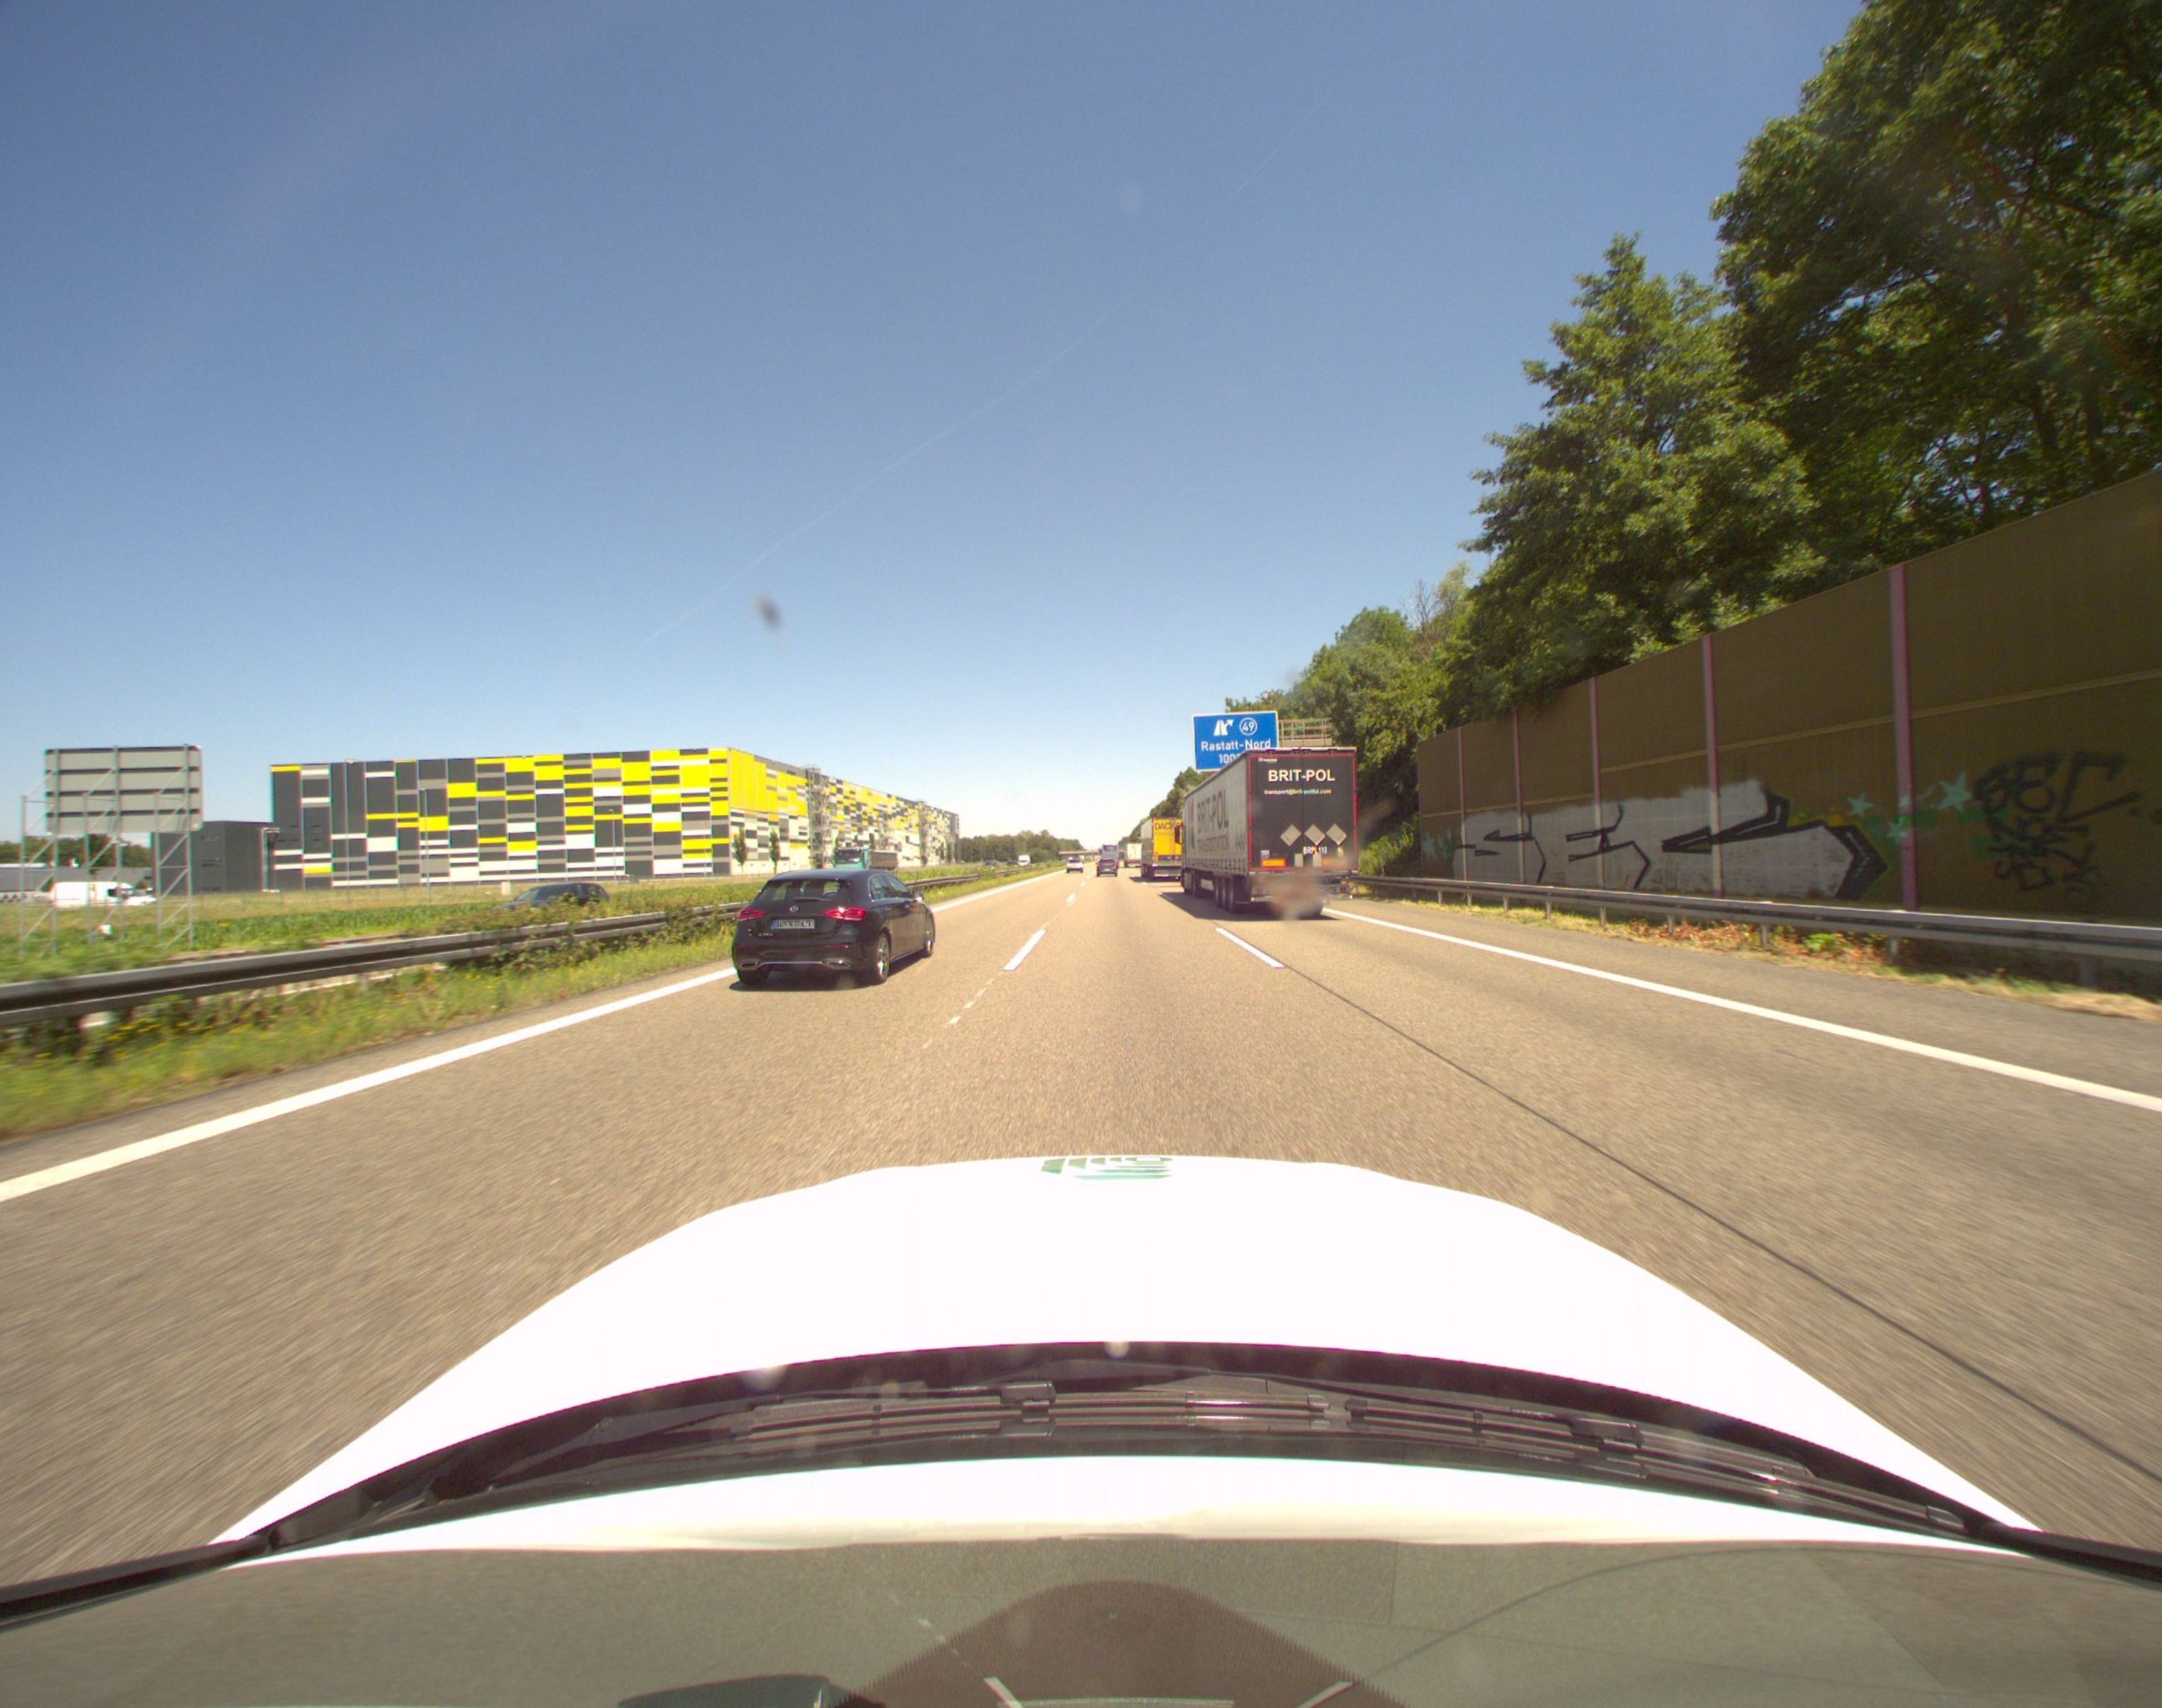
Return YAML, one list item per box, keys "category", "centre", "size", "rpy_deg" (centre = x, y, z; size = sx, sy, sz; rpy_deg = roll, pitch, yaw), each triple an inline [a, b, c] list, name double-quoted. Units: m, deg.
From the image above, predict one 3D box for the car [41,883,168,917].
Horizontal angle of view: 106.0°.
- category: "car"
  centre: [-72.441, 3.392, 60.565]
  size: [5.628, 2.178, 2.088]
  rpy_deg: [-2, -1, -31]

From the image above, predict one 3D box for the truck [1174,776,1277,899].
- category: "truck"
  centre: [5.587, -0.558, 32.624]
  size: [3.076, 4.441, 6.053]
  rpy_deg: [-1, -1, 1]

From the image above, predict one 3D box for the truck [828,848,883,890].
- category: "truck"
  centre: [-18.675, 1.205, 67.687]
  size: [2.688, 3.250, 5.840]
  rpy_deg: [-2, -1, 2]

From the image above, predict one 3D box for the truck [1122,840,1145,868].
- category: "truck"
  centre: [8.414, 0.065, 131.900]
  size: [3.409, 4.126, 9.569]
  rpy_deg: [-2, -1, 2]

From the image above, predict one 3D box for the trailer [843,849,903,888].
- category: "trailer"
  centre: [-18.521, 1.283, 73.221]
  size: [2.665, 3.238, 9.261]
  rpy_deg: [-2, -1, 2]

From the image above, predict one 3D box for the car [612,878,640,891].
- category: "car"
  centre: [-65.652, 4.436, 117.596]
  size: [1.679, 1.727, 4.111]
  rpy_deg: [-2, -1, 0]

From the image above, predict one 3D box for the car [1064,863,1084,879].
- category: "car"
  centre: [-0.733, 1.851, 89.378]
  size: [1.987, 1.728, 4.130]
  rpy_deg: [-1, -1, 1]

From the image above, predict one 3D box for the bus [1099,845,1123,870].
- category: "bus"
  centre: [4.298, 0.548, 117.530]
  size: [3.052, 3.327, 8.273]
  rpy_deg: [-2, -1, 0]

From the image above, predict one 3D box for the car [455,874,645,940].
- category: "car"
  centre: [-16.213, 1.532, 25.357]
  size: [1.986, 1.639, 5.665]
  rpy_deg: [-2, 0, 2]

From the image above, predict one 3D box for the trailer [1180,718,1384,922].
- category: "trailer"
  centre: [5.384, -0.667, 25.582]
  size: [3.094, 4.507, 14.900]
  rpy_deg: [-1, -1, 2]

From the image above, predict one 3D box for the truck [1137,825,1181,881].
- category: "truck"
  centre: [5.911, -0.063, 62.712]
  size: [2.803, 4.006, 6.645]
  rpy_deg: [-2, -1, 1]

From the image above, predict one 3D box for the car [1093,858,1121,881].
- category: "car"
  centre: [2.211, 1.317, 69.966]
  size: [2.208, 1.790, 5.394]
  rpy_deg: [-2, -1, 1]

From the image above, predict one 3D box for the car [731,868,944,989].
- category: "car"
  centre: [-3.285, 0.935, 11.865]
  size: [1.786, 1.412, 4.053]
  rpy_deg: [-1, -1, 1]

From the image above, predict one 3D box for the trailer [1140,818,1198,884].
- category: "trailer"
  centre: [5.756, -0.154, 55.306]
  size: [2.824, 3.954, 11.686]
  rpy_deg: [-1, 0, 1]
